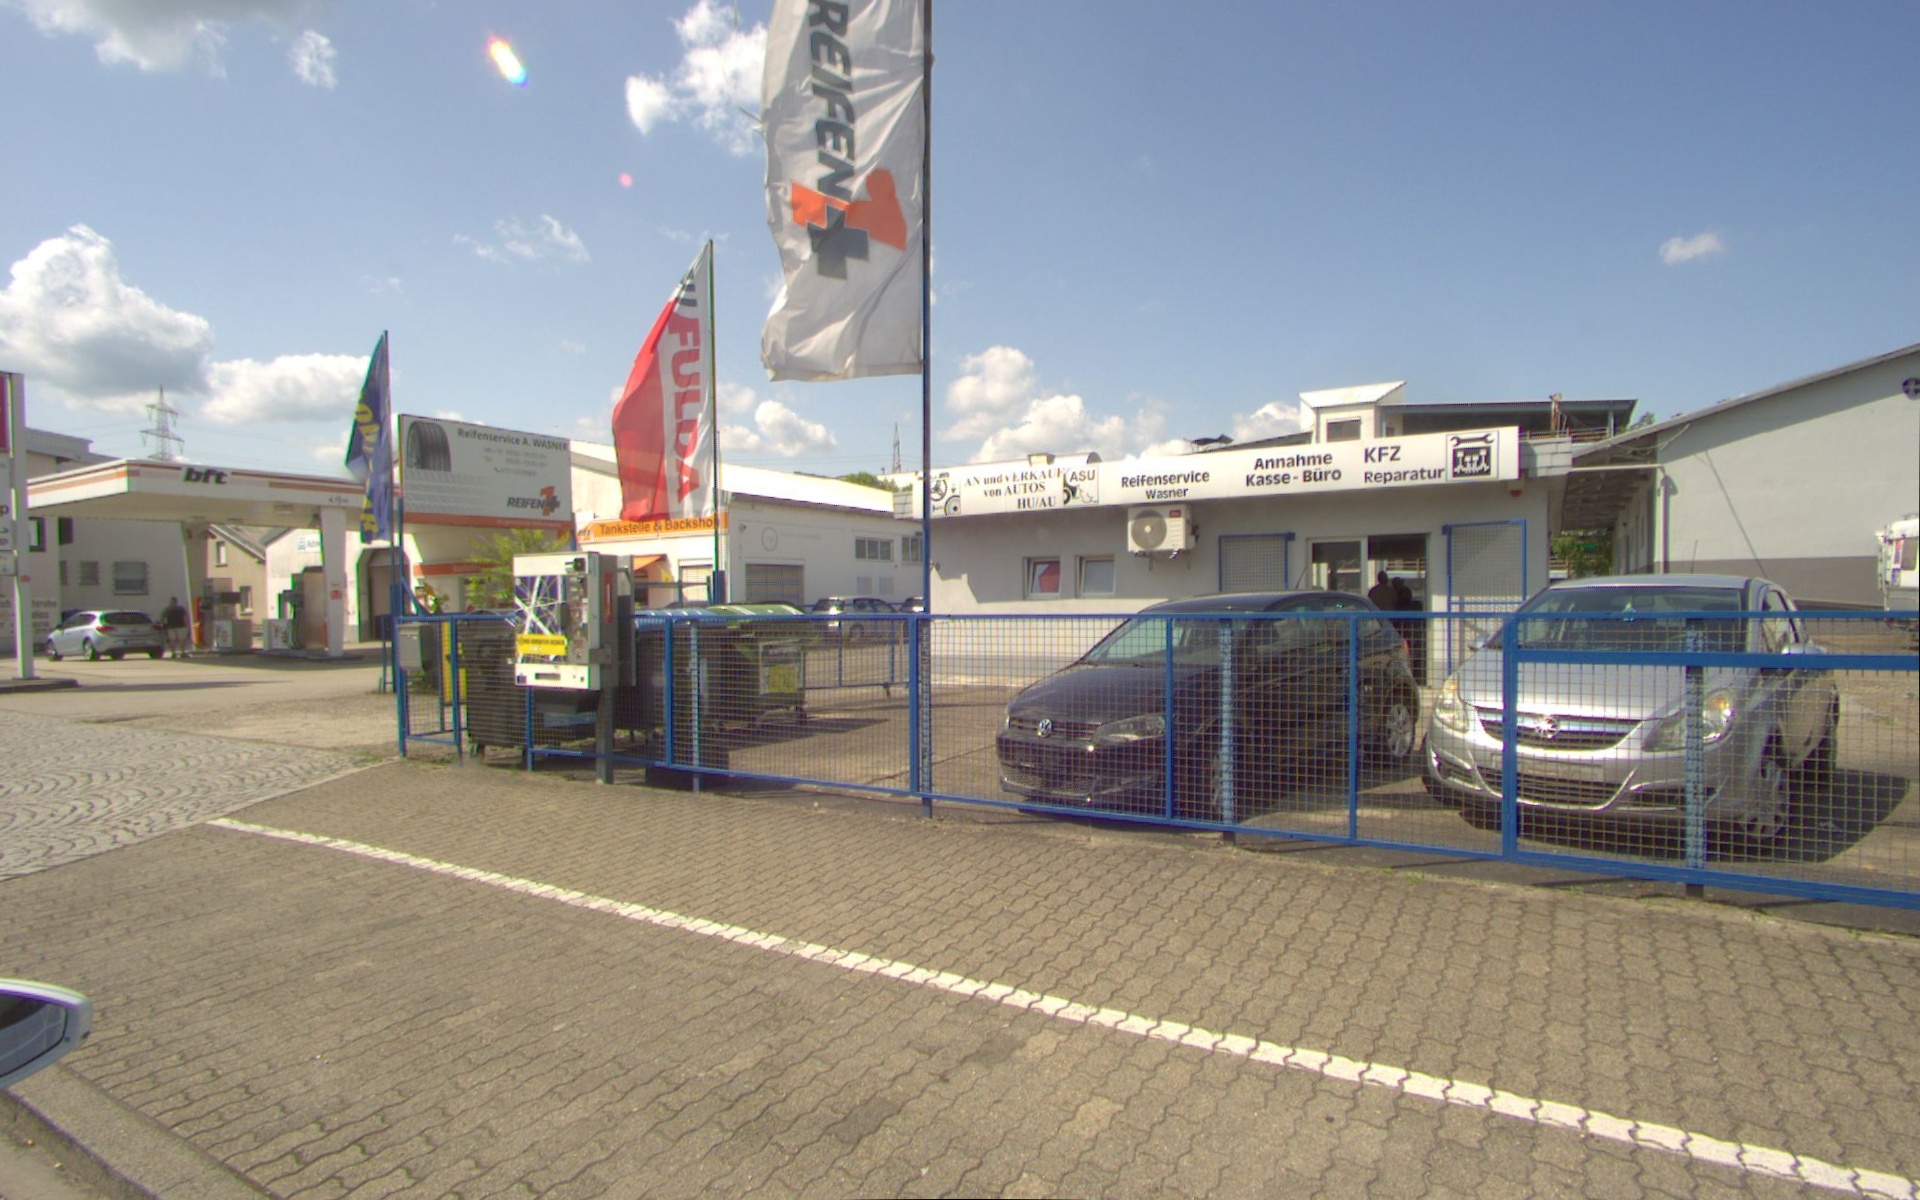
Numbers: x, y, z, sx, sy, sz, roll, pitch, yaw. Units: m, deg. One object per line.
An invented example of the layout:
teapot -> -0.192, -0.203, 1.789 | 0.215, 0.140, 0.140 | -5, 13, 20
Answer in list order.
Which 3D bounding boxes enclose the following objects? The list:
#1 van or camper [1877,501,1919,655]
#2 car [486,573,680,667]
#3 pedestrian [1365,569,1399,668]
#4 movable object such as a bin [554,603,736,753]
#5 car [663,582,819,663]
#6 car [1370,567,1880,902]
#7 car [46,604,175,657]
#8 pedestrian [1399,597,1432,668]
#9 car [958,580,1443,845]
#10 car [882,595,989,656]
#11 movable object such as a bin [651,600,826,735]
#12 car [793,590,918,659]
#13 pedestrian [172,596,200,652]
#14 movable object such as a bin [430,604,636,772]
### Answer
van or camper -> 21.343, -0.459, 19.321 | 4.983, 3.002, 2.276 | 0, 1, 31
car -> -8.917, 0.434, 23.981 | 1.971, 2.040, 3.979 | 0, 0, 32
pedestrian -> 7.400, 0.324, 17.560 | 0.480, 1.710, 0.499 | 0, 1, 30
movable object such as a bin -> -3.375, 0.775, 10.784 | 1.434, 1.473, 1.224 | 0, 1, 31
car -> -5.952, 0.570, 27.635 | 1.971, 2.040, 3.979 | 0, 0, 32
car -> 4.499, 0.587, 6.511 | 4.104, 1.499, 1.787 | -1, 0, -42
car -> -25.838, 0.887, 30.433 | 3.950, 1.499, 1.829 | -1, 1, 31
pedestrian -> 7.975, 0.561, 17.525 | 0.480, 1.229, 0.499 | 0, 1, 30
car -> 2.011, 0.626, 7.648 | 3.962, 1.499, 1.705 | -1, 1, -43
car -> -0.809, 0.861, 35.876 | 1.971, 2.040, 3.979 | 0, 0, 32
movable object such as a bin -> -2.609, 0.742, 11.899 | 1.433, 1.473, 1.427 | 0, 1, 31
car -> -3.269, 0.726, 31.987 | 1.971, 2.040, 3.979 | 0, 0, 32
pedestrian -> -23.744, 0.727, 30.714 | 0.628, 1.705, 0.618 | -1, 1, -36
movable object such as a bin -> -4.136, 0.783, 9.744 | 1.434, 1.473, 1.224 | 0, 1, 31
